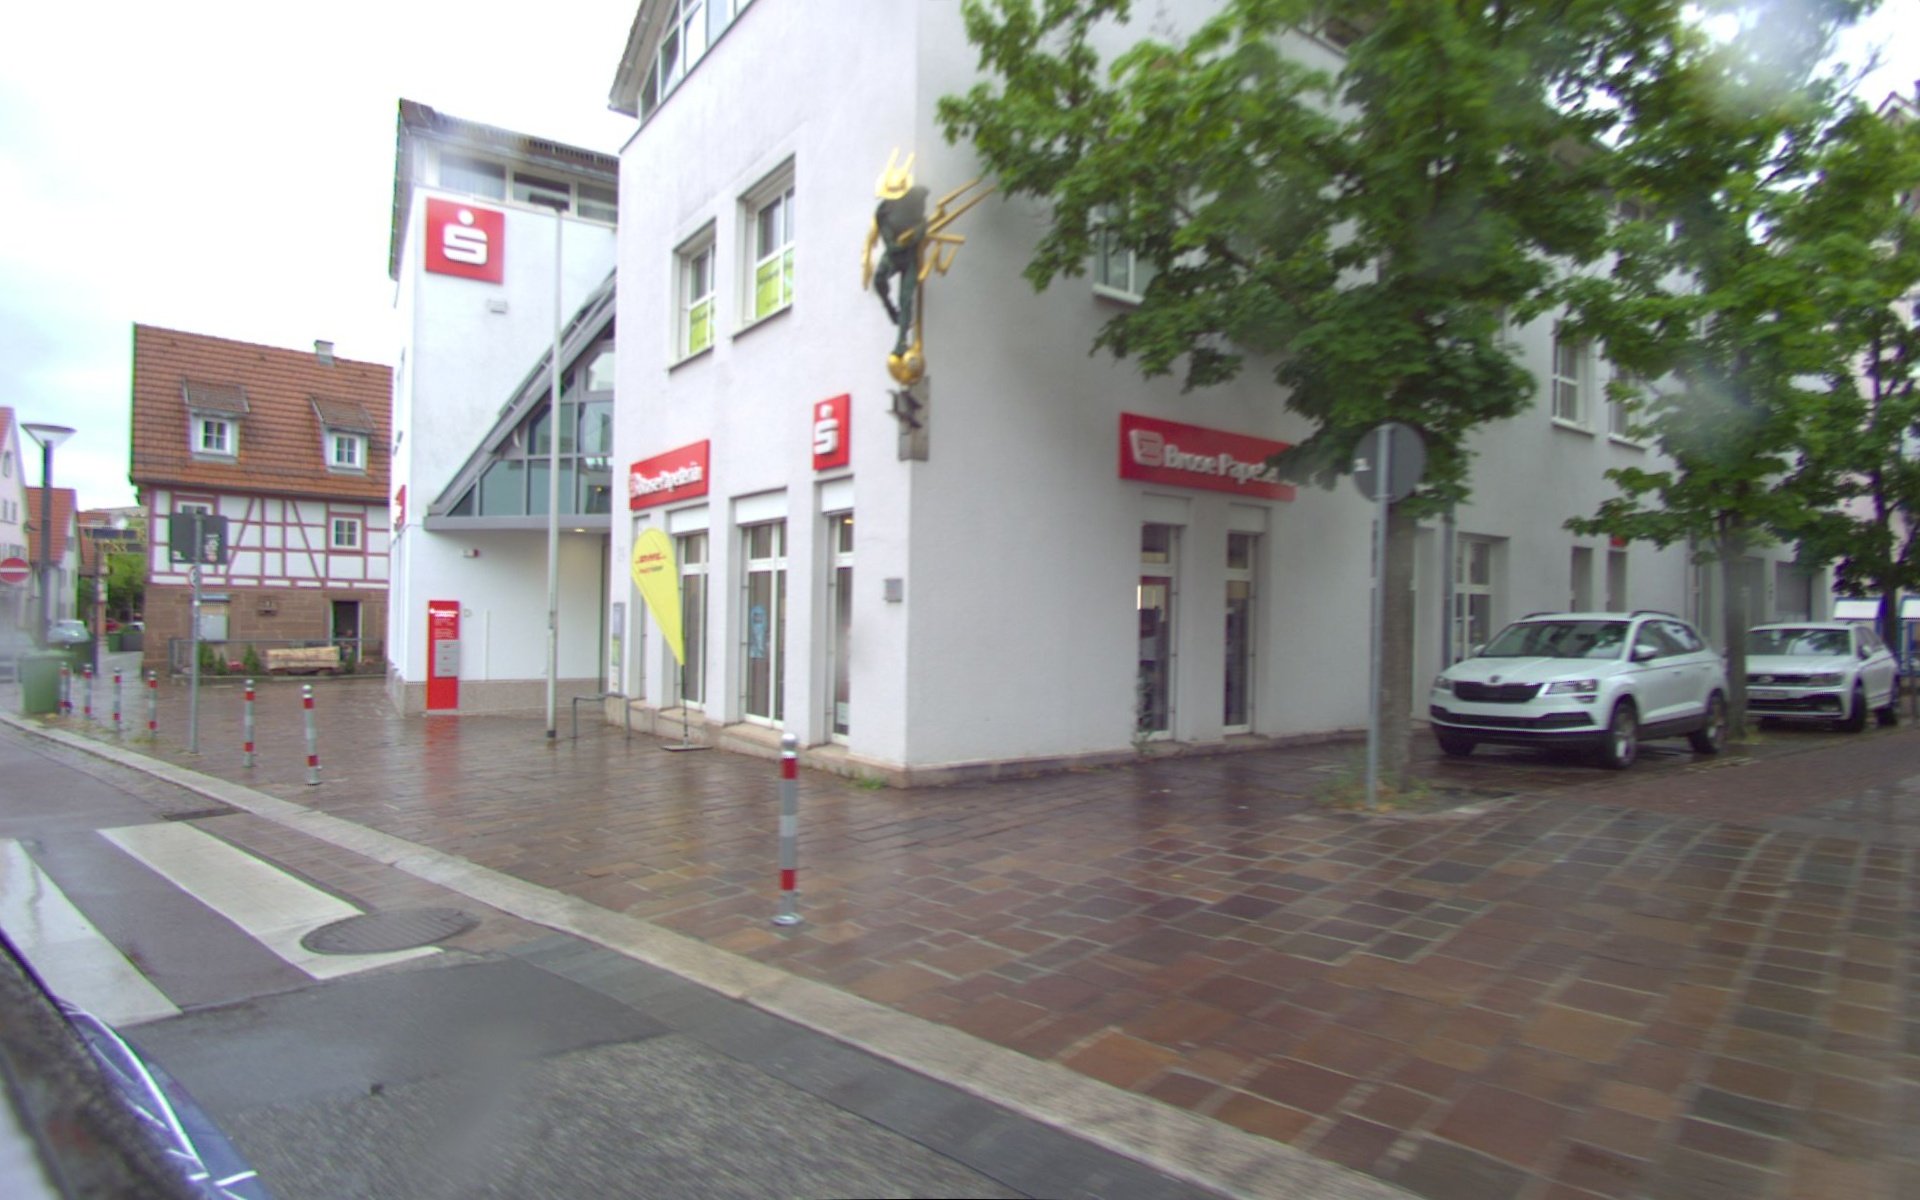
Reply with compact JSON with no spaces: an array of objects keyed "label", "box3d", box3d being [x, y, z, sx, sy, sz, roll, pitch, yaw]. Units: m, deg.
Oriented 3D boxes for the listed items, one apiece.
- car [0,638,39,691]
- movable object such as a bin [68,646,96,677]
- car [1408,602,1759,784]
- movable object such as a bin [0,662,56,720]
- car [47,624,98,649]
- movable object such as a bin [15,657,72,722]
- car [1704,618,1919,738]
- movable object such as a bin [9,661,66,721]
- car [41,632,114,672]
[{"label":"car","box3d":[-28.549,1.882,29.948,1.781,1.453,4.003,1,-1,-44]},{"label":"movable object such as a bin","box3d":[-29.579,2.074,34.101,0.530,1.030,0.604,-1,-3,41]},{"label":"car","box3d":[6.892,0.935,11.065,4.053,1.630,1.861,3,-3,-36]},{"label":"movable object such as a bin","box3d":[-17.669,1.708,19.186,0.644,1.055,0.688,-1,-3,42]},{"label":"car","box3d":[-55.908,2.281,63.837,1.838,1.472,4.010,3,-3,-34]},{"label":"movable object such as a bin","box3d":[-16.458,1.587,18.181,0.644,1.085,0.688,-1,0,42]},{"label":"car","box3d":[13.410,1.156,15.688,4.211,1.630,1.824,3,-3,-36]},{"label":"movable object such as a bin","box3d":[-17.081,1.671,18.741,0.644,1.059,0.688,-1,-3,42]},{"label":"car","box3d":[-36.036,2.082,41.403,1.778,1.453,4.010,0,-1,-35]}]
